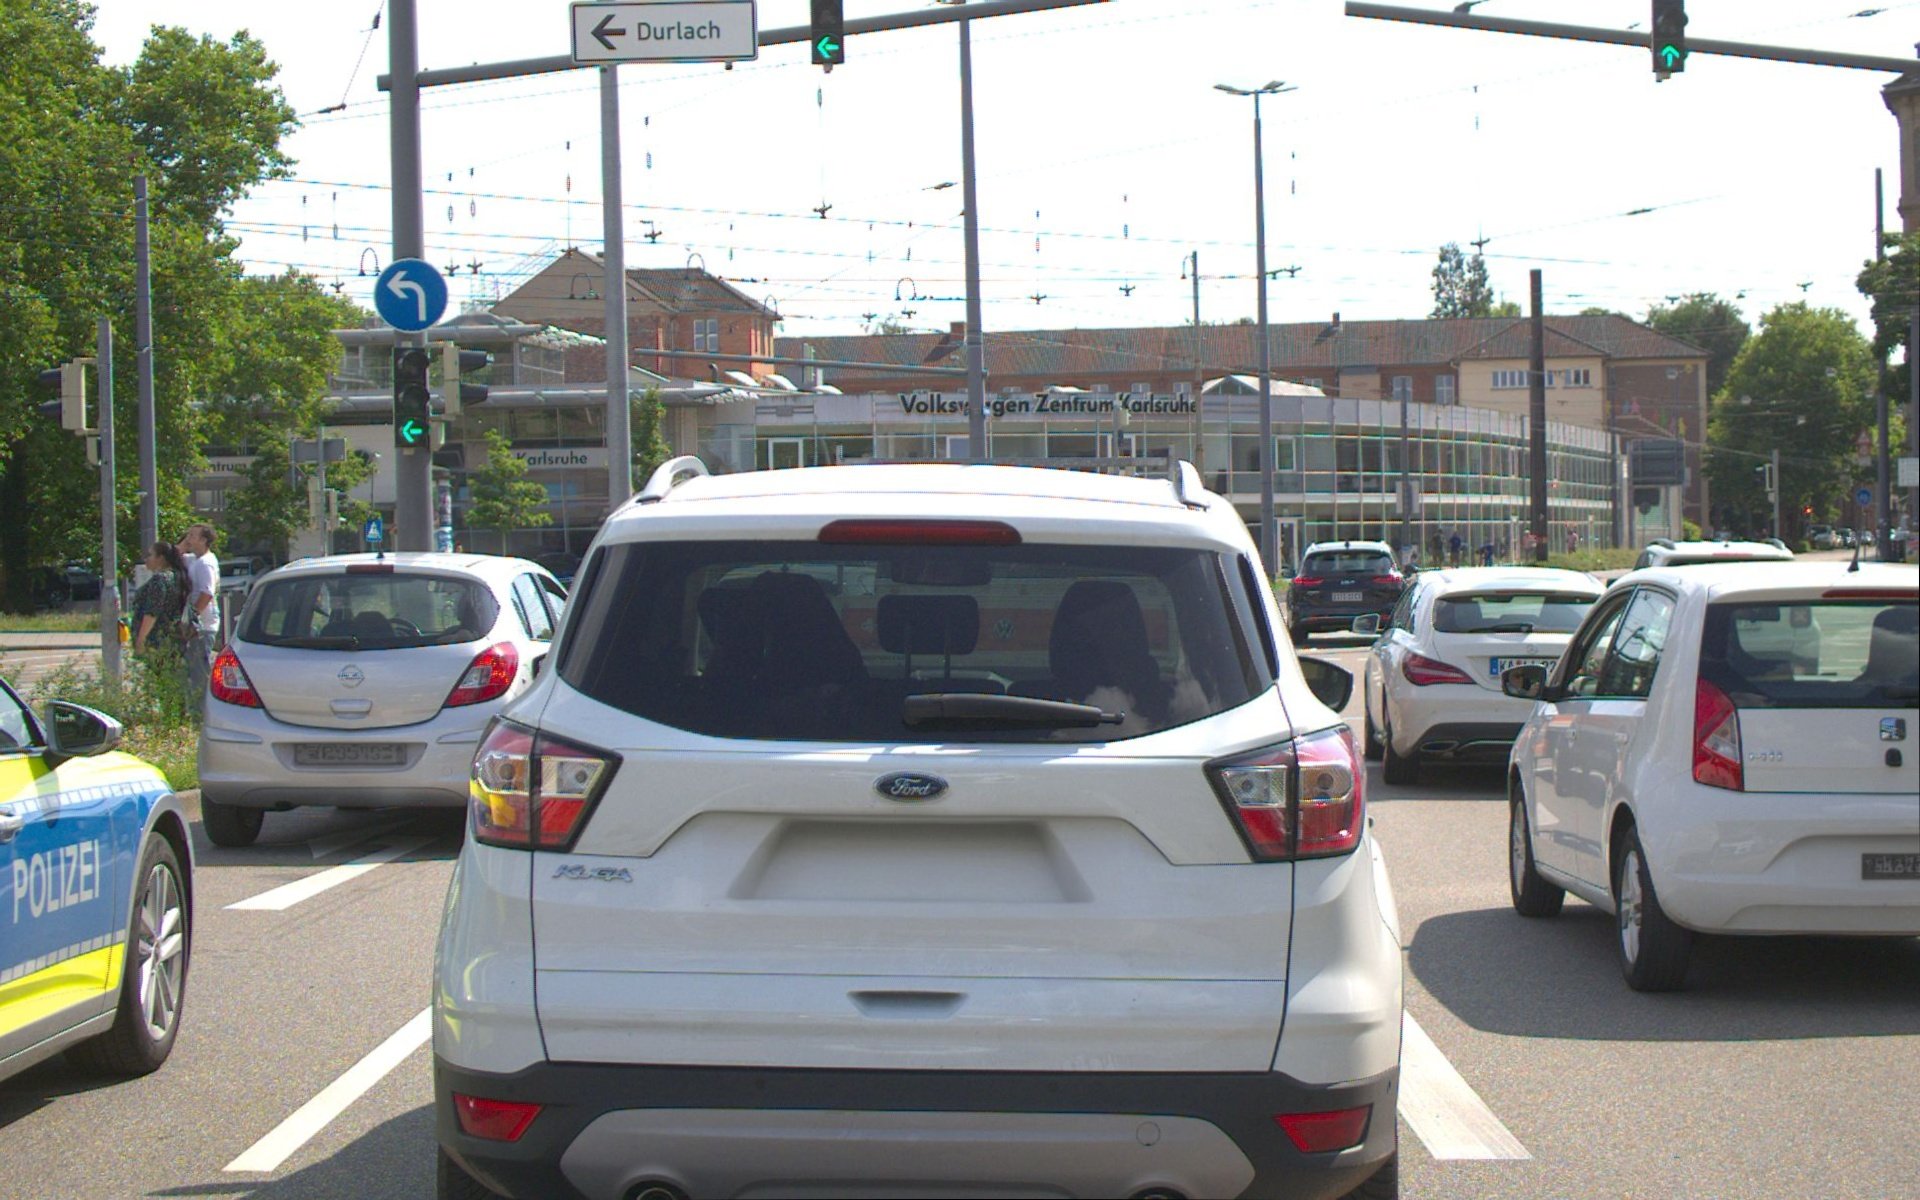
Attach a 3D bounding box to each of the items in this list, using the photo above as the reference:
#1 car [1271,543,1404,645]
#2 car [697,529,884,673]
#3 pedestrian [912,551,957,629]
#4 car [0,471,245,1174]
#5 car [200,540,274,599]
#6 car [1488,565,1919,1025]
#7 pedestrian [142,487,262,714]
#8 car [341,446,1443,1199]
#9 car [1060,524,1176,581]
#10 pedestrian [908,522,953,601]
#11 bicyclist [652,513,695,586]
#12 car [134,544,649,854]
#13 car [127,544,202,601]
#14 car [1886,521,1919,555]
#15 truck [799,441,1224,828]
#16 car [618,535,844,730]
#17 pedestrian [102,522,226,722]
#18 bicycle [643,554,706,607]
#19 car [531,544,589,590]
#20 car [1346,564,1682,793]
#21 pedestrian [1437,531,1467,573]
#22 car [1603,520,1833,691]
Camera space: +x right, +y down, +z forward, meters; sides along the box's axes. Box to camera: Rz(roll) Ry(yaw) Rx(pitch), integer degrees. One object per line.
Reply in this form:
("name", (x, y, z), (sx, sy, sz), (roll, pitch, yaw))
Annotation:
("car", (5.462, -0.110, 49.767), (1.850, 1.414, 3.678), (0, 1, 6))
("car", (-1.916, -0.022, 39.760), (2.039, 1.573, 4.540), (0, 1, -2))
("pedestrian", (-0.572, -0.230, 77.555), (0.924, 1.738, 0.589), (1, 0, 6))
("car", (-3.082, 0.504, 7.858), (1.880, 1.563, 4.615), (-1, 1, 0))
("car", (-25.950, -1.087, 123.495), (1.993, 2.007, 4.231), (-2, 0, -5))
("car", (3.149, 0.615, 13.170), (1.649, 1.417, 4.000), (-1, 1, 1))
("pedestrian", (-6.515, 0.000, 29.565), (0.847, 1.910, 0.692), (-1, 0, -1))
("car", (-0.017, 0.552, 7.687), (1.827, 1.658, 3.955), (0, 1, 3))
("car", (4.329, -1.307, 93.529), (1.901, 1.456, 3.964), (-2, 1, 22))
("pedestrian", (-0.646, -0.849, 76.497), (0.924, 1.738, 0.589), (1, 0, 6))
("bicyclist", (-6.694, -1.179, 80.312), (0.760, 1.677, 0.760), (-2, 1, 14))
("car", (-2.926, 0.444, 18.556), (1.848, 1.469, 4.000), (1, 1, 4))
("car", (-28.610, -0.961, 123.752), (1.967, 1.930, 4.231), (-2, 0, -5))
("car", (46.544, -3.043, 168.745), (1.838, 1.646, 3.996), (0, 0, 20))
("truck", (0.504, 0.144, 22.230), (2.339, 2.148, 5.851), (1, 1, 5))
("car", (-1.930, 0.225, 30.107), (1.762, 1.563, 4.527), (-1, 1, -1))
("pedestrian", (-6.672, 0.181, 28.838), (0.847, 1.642, 0.692), (-1, 0, -1))
("bicycle", (-6.662, -0.461, 80.355), (0.760, 1.188, 2.149), (-2, 1, 14))
("car", (-14.159, -1.158, 121.841), (1.818, 1.528, 3.917), (-2, 0, -5))
("car", (3.660, 0.470, 23.285), (1.850, 1.414, 3.679), (0, 1, 3))
("pedestrian", (20.518, -1.994, 143.387), (0.877, 1.731, 0.874), (1, 0, 35))
("car", (7.680, 0.043, 35.142), (1.837, 1.646, 3.999), (0, 0, 6))
